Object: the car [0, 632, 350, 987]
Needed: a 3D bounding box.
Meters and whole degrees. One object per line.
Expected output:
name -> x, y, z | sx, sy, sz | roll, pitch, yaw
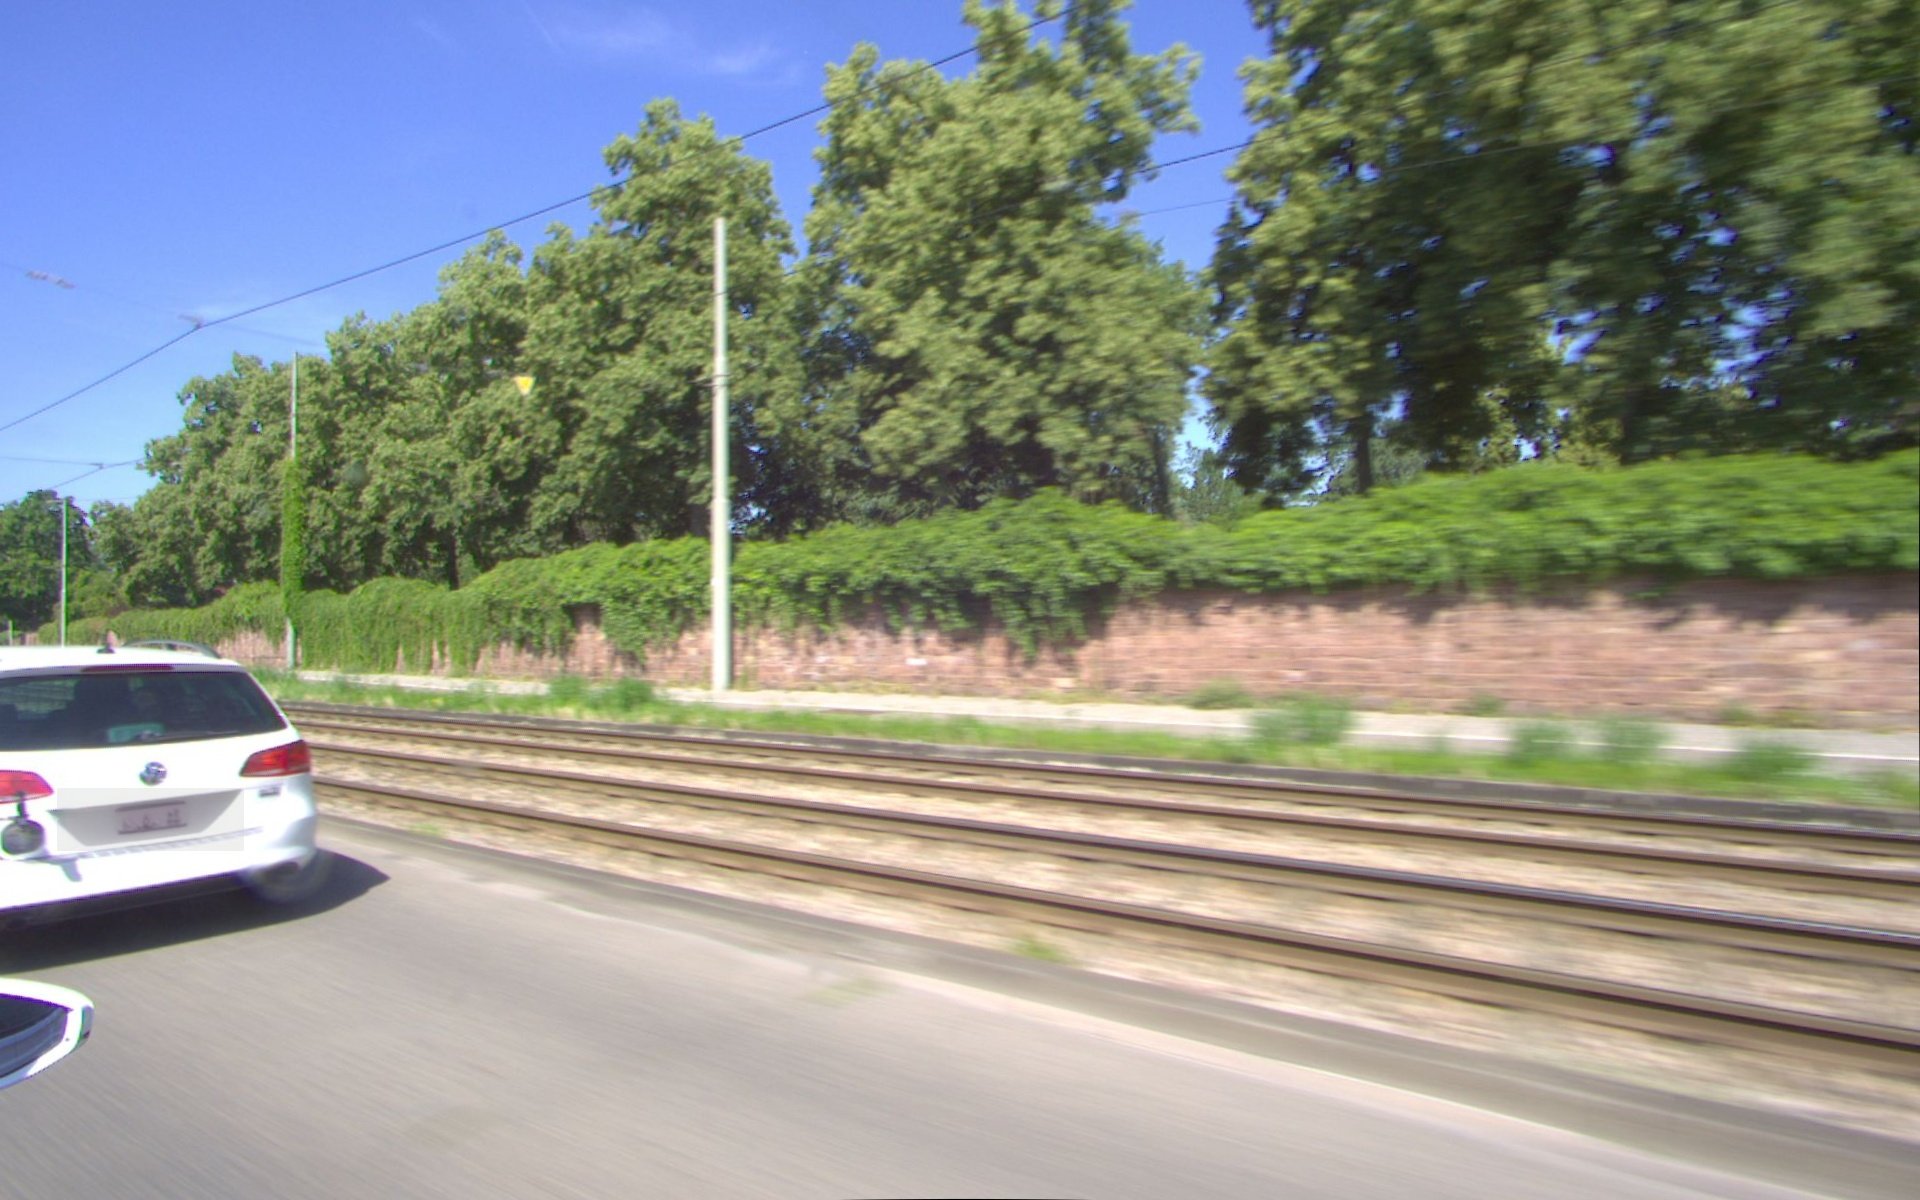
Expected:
car -> -5.505, 0.932, 5.834 | 4.398, 1.469, 1.687 | -1, -2, 34
